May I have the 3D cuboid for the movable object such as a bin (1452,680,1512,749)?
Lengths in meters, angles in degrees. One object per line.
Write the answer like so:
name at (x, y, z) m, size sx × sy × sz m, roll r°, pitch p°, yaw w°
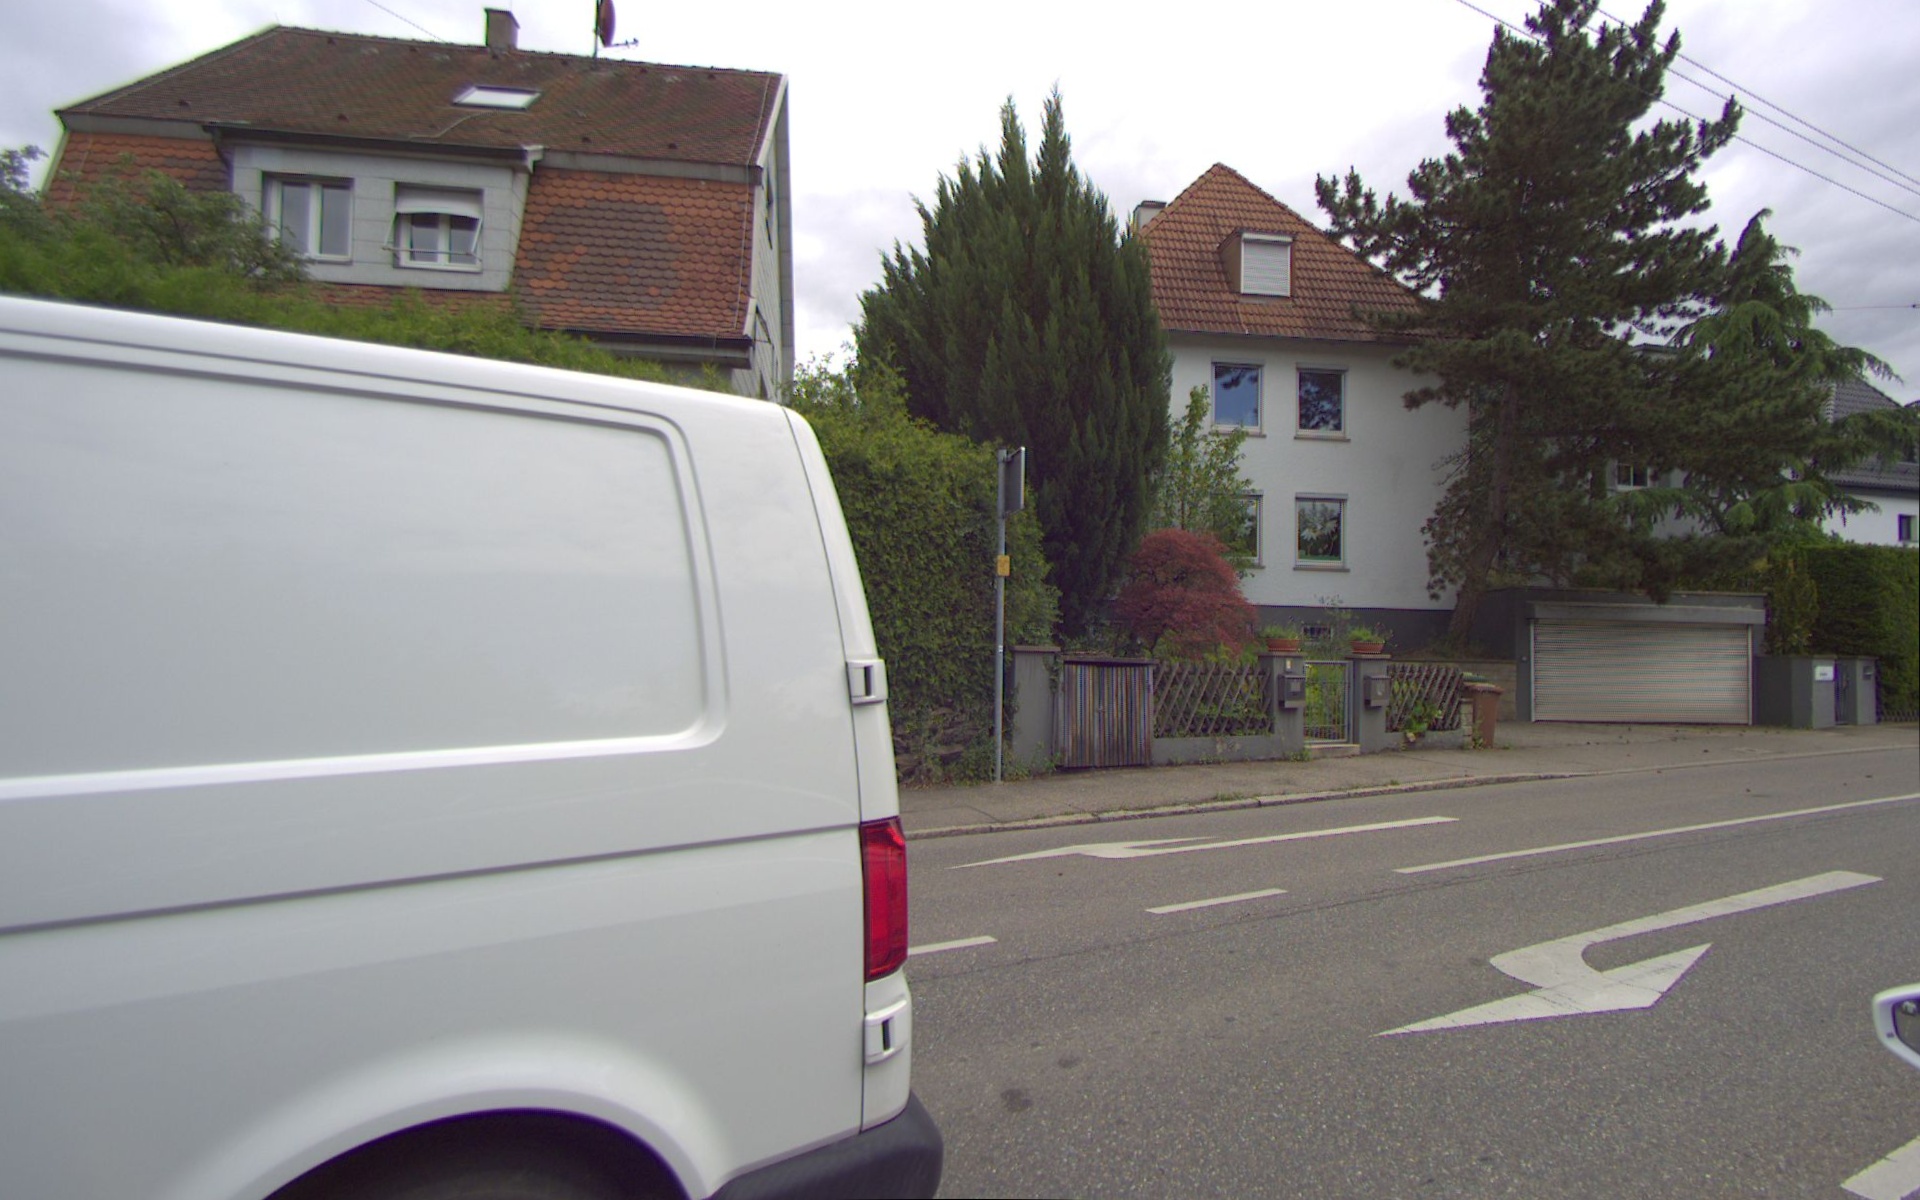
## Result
movable object such as a bin at (7.655, 1.669, 14.747) m, size 0.634 × 0.954 × 0.465 m, roll 1°, pitch -1°, yaw 0°

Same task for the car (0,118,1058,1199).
car at (-2.472, 0.465, 1.469) m, size 5.110 × 2.074 × 1.850 m, roll 2°, pitch -3°, yaw -30°

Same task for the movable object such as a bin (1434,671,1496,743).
movable object such as a bin at (7.679, 1.618, 15.290) m, size 0.702 × 1.048 × 0.480 m, roll 1°, pitch -1°, yaw 0°
